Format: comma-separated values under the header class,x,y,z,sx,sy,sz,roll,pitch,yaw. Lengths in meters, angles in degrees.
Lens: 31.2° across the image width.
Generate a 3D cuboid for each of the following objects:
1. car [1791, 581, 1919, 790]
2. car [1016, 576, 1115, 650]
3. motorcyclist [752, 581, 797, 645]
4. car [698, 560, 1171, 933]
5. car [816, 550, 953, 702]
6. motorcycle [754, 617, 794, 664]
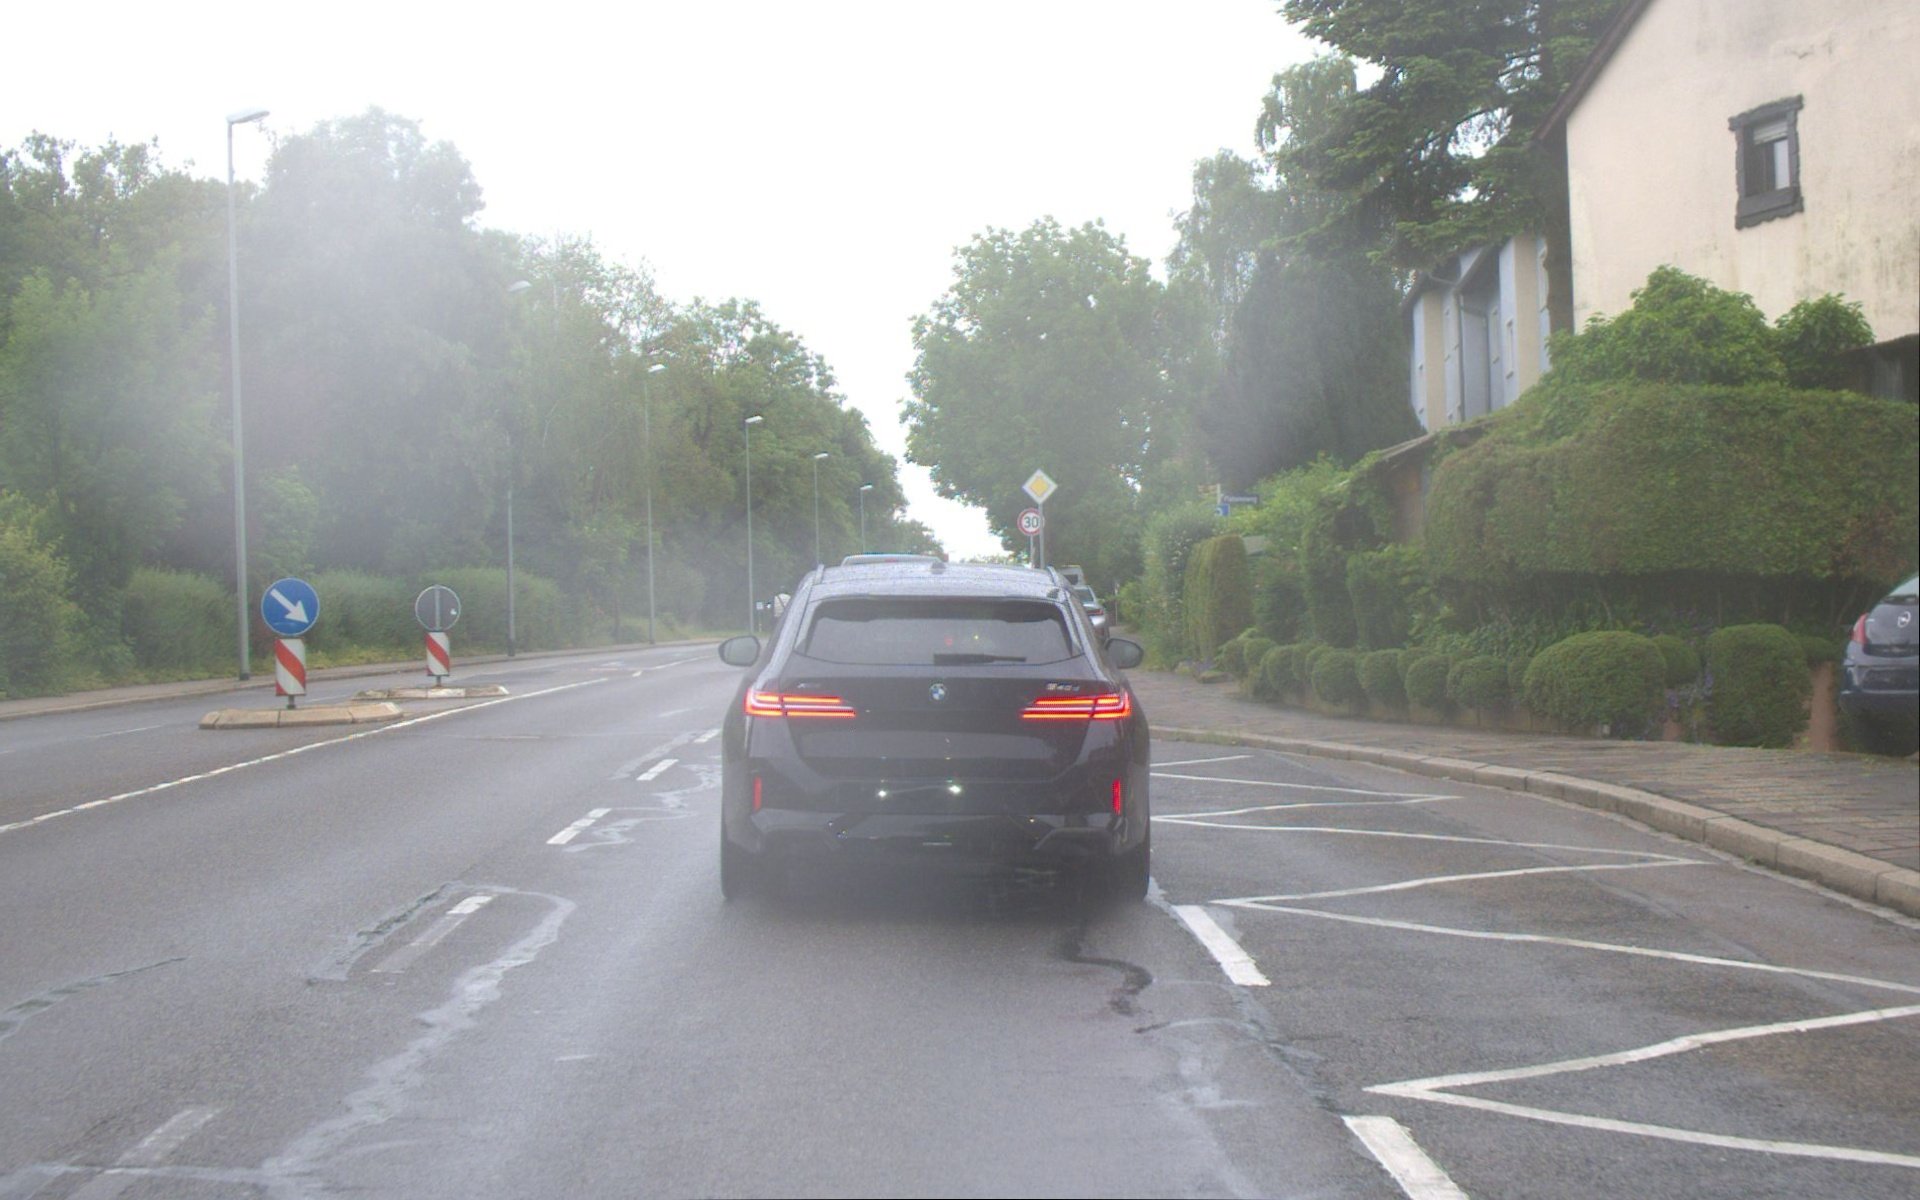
class,x,y,z,sx,sy,sz,roll,pitch,yaw
car,7.793,0.767,23.409,3.695,1.294,1.773,8,-4,-20
car,2.175,0.243,70.888,1.935,1.437,4.408,-2,0,2
motorcyclist,-4.554,0.316,84.557,1.039,1.562,0.855,1,0,-1
car,-0.099,0.582,15.995,1.897,1.484,4.000,1,0,0
car,-0.962,0.294,44.313,1.629,1.827,4.000,-2,1,-1
motorcycle,-4.572,0.981,84.609,0.876,1.120,2.741,1,0,-1
